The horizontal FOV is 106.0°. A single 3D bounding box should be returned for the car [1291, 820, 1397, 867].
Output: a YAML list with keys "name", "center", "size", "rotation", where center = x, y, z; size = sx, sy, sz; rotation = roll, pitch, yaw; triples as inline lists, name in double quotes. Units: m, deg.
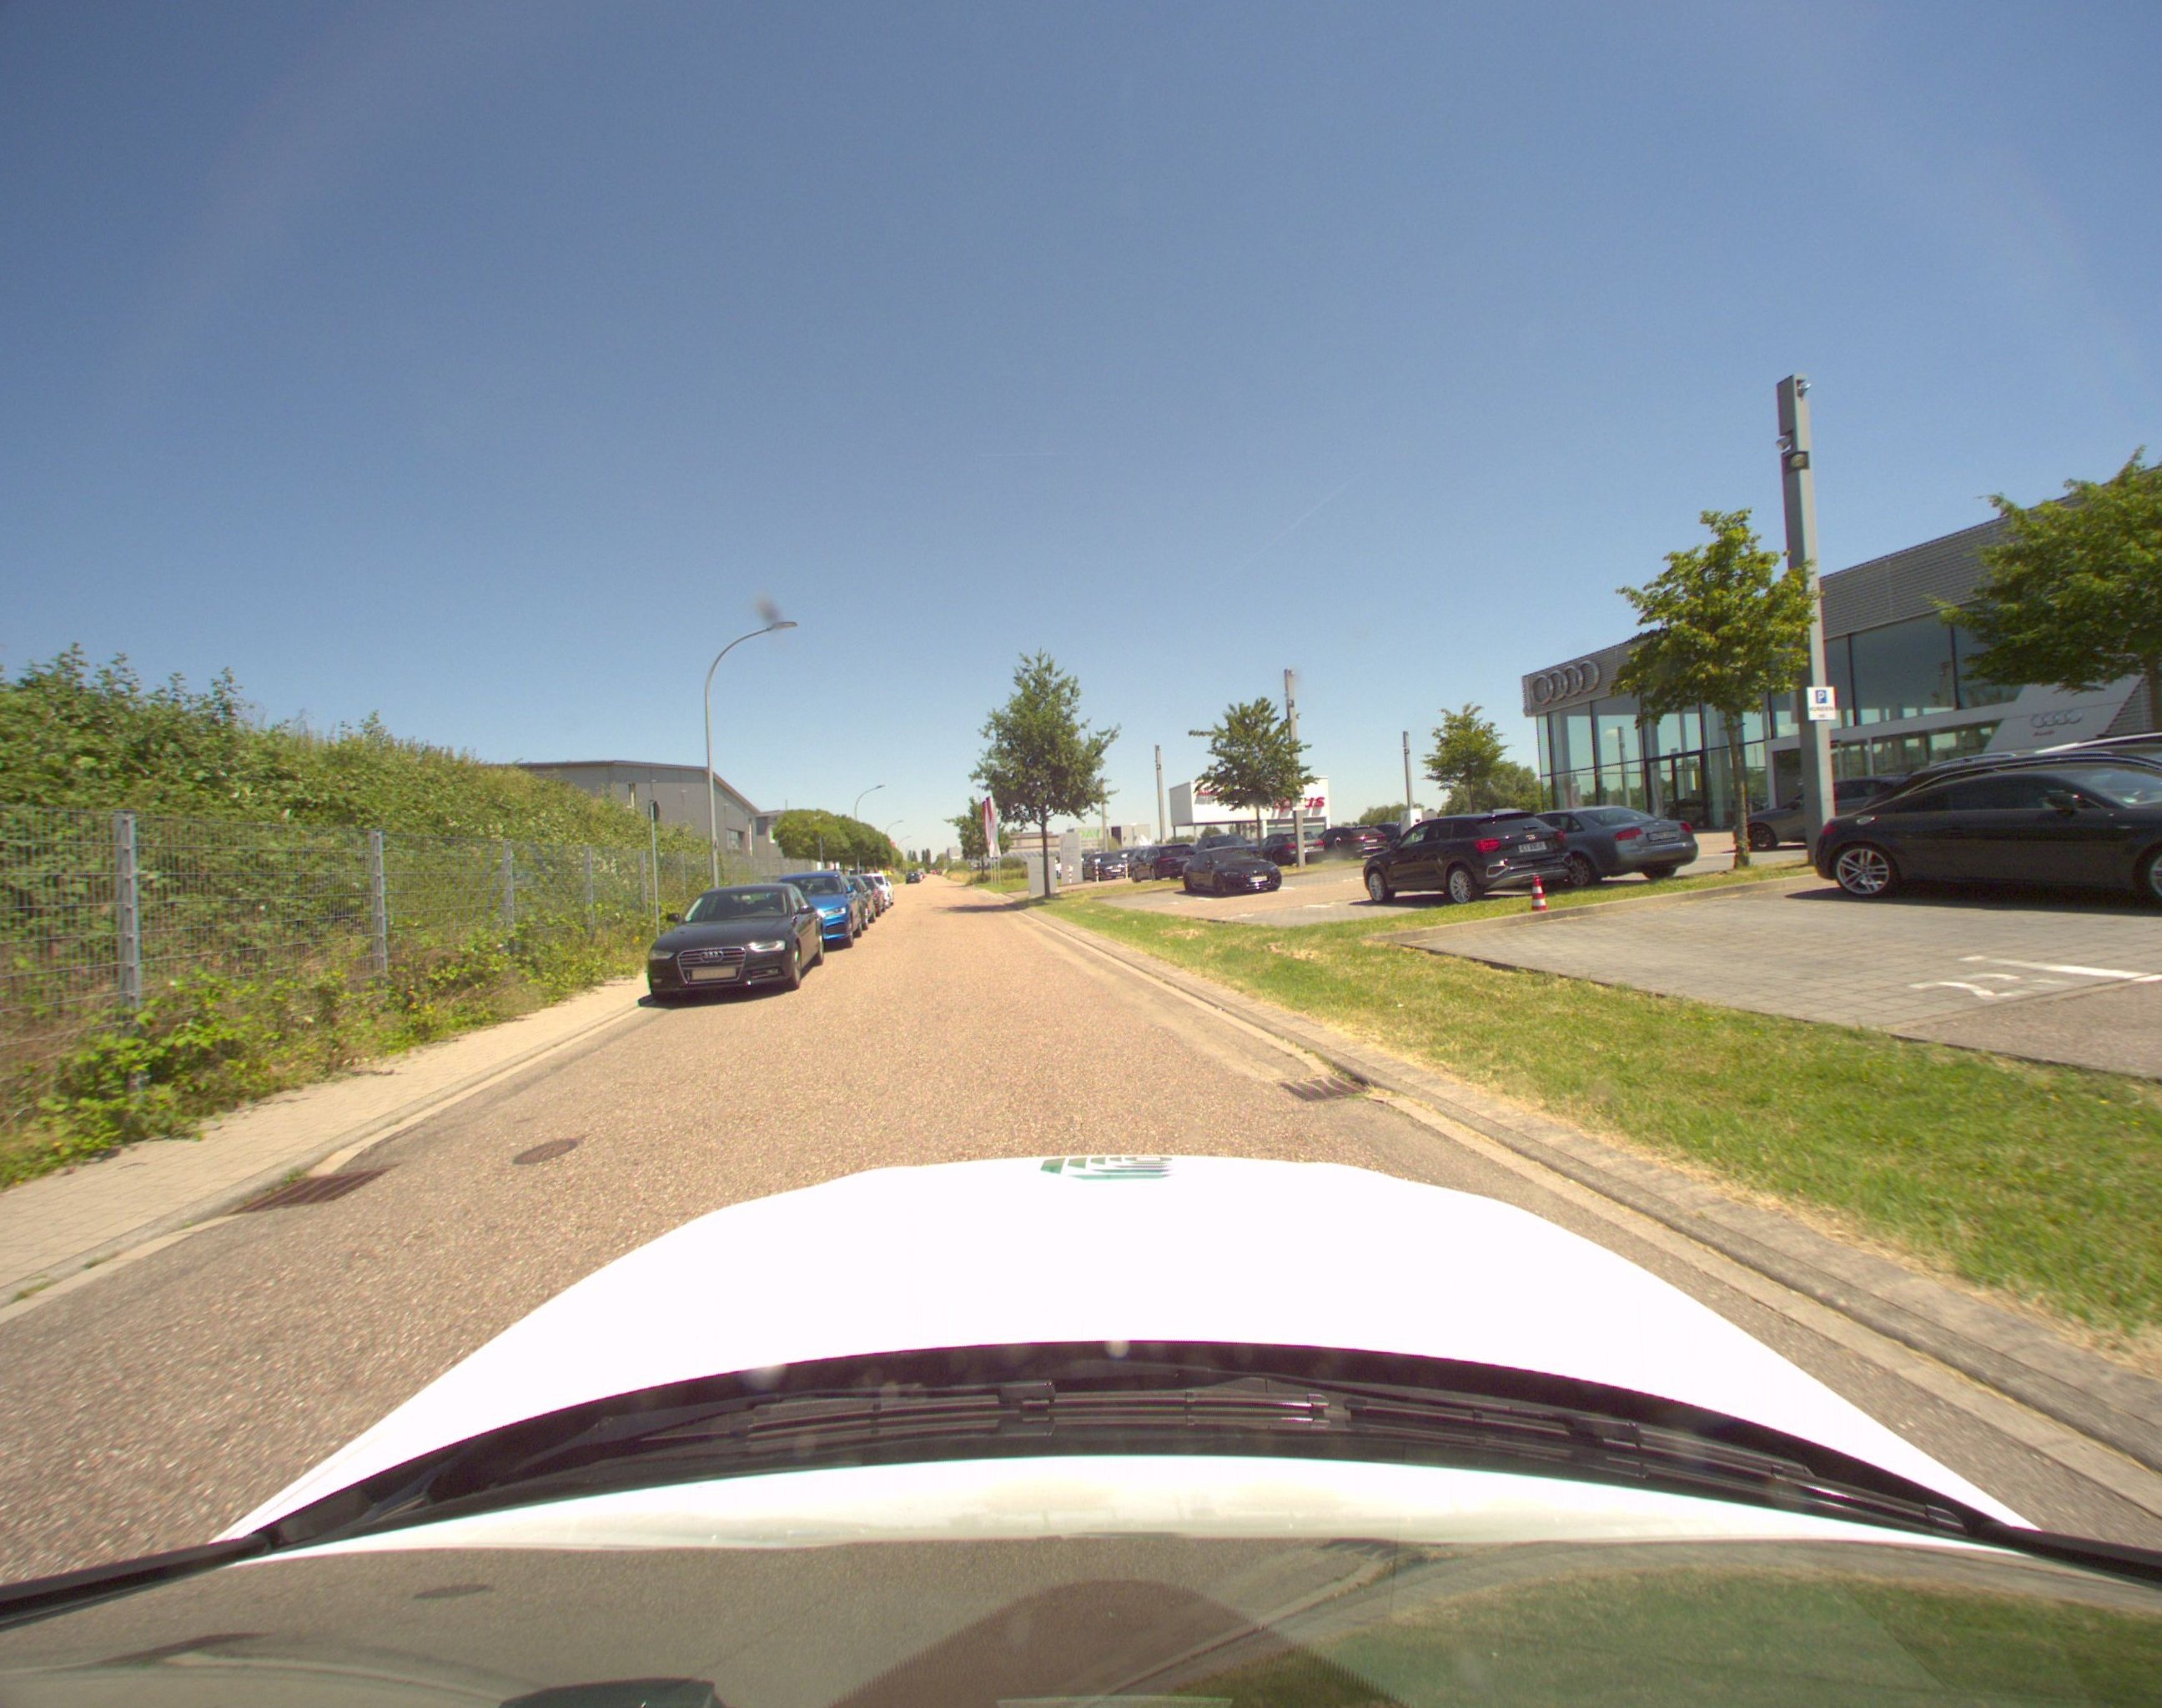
- name: "car"
  center: [10.703, -0.377, 33.615]
  size: [1.962, 1.457, 4.966]
  rotation: [-4, -2, -11]

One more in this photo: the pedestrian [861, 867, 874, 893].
- name: "pedestrian"
  center: [-14.962, 1.810, 57.045]
  size: [0.744, 1.802, 1.131]
  rotation: [0, -1, -9]

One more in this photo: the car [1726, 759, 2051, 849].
- name: "car"
  center: [16.595, -0.943, 17.123]
  size: [1.963, 1.366, 4.448]
  rotation: [-6, 0, -12]

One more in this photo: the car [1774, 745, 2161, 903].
- name: "car"
  center: [10.135, -0.312, 8.323]
  size: [1.963, 1.375, 4.294]
  rotation: [-5, 0, -12]

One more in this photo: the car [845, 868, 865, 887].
- name: "car"
  center: [-24.721, 2.570, 89.075]
  size: [1.839, 2.019, 5.103]
  rotation: [0, -1, -13]

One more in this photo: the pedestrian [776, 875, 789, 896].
- name: "pedestrian"
  center: [-24.585, 2.618, 67.097]
  size: [0.840, 1.713, 0.961]
  rotation: [-1, -1, -11]

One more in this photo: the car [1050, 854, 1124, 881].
- name: "car"
  center: [0.376, 0.895, 54.445]
  size: [4.534, 1.457, 2.022]
  rotation: [-4, -1, -13]

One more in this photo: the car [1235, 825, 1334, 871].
- name: "car"
  center: [8.215, -0.177, 33.434]
  size: [1.962, 1.457, 4.966]
  rotation: [-4, -2, -11]

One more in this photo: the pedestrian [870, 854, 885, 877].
- name: "pedestrian"
  center: [-17.778, 0.982, 71.187]
  size: [0.832, 1.973, 0.971]
  rotation: [-2, -2, 29]

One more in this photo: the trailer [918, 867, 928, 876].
- name: "trailer"
  center: [-39.953, 4.475, 206.145]
  size: [2.202, 2.137, 4.269]
  rotation: [-3, -1, -11]

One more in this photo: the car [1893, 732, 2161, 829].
- name: "car"
  center: [20.766, -1.536, 17.438]
  size: [1.961, 1.591, 4.413]
  rotation: [-6, 0, -9]

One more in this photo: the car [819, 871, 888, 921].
- name: "car"
  center: [-7.816, 1.380, 28.380]
  size: [1.825, 1.500, 4.503]
  rotation: [-3, -1, -10]

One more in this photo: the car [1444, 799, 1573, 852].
- name: "car"
  center: [17.498, -1.099, 33.681]
  size: [1.962, 1.621, 4.966]
  rotation: [-4, -2, -11]

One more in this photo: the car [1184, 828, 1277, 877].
- name: "car"
  center: [5.976, 0.014, 33.274]
  size: [1.962, 1.598, 4.966]
  rotation: [-4, -2, -11]

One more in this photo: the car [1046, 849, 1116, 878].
- name: "car"
  center: [-0.024, 0.684, 57.122]
  size: [4.534, 1.693, 2.022]
  rotation: [-4, -1, -13]

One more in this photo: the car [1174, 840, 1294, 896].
- name: "car"
  center: [4.557, 0.394, 25.106]
  size: [1.962, 1.366, 4.703]
  rotation: [-6, 1, -11]

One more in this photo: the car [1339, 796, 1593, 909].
- name: "car"
  center: [6.675, 0.008, 14.725]
  size: [1.889, 1.571, 4.210]
  rotation: [-6, 0, -12]

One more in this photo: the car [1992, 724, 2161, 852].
- name: "car"
  center: [15.050, -0.964, 10.271]
  size: [1.963, 1.613, 4.271]
  rotation: [-5, 0, -12]

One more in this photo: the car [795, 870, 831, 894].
- name: "car"
  center: [-18.978, 1.960, 57.873]
  size: [1.766, 1.573, 4.523]
  rotation: [-1, -1, -10]

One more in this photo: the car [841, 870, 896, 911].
- name: "car"
  center: [-8.735, 1.459, 33.759]
  size: [1.825, 1.500, 4.243]
  rotation: [-3, -1, -10]

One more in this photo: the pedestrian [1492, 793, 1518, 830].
- name: "pedestrian"
  center: [21.540, -2.162, 41.375]
  size: [0.769, 1.776, 0.743]
  rotation: [-4, -1, -6]

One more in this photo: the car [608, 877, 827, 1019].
- name: "car"
  center: [-4.832, 1.118, 11.554]
  size: [1.826, 1.455, 4.562]
  rotation: [-3, -1, -12]

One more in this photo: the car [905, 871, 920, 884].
- name: "car"
  center: [-23.592, 3.281, 114.076]
  size: [1.928, 1.567, 4.172]
  rotation: [-3, -1, -12]

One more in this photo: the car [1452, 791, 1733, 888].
- name: "car"
  center: [9.130, -0.200, 15.046]
  size: [1.963, 1.366, 4.210]
  rotation: [-6, 0, -12]

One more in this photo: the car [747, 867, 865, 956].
- name: "car"
  center: [-5.773, 1.130, 17.598]
  size: [1.826, 1.570, 4.368]
  rotation: [-3, -1, -12]

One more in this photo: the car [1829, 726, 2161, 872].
- name: "car"
  center: [12.376, -0.653, 9.589]
  size: [1.963, 1.553, 4.985]
  rotation: [-5, 0, -12]

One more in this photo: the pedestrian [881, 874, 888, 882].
- name: "pedestrian"
  center: [-25.552, 3.098, 105.935]
  size: [0.750, 1.099, 0.645]
  rotation: [0, -2, -7]

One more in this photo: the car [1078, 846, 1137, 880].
- name: "car"
  center: [1.350, 0.509, 44.215]
  size: [2.026, 1.514, 5.220]
  rotation: [-6, 0, -10]

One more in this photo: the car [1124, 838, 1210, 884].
- name: "car"
  center: [3.314, 0.339, 32.449]
  size: [1.962, 1.457, 4.966]
  rotation: [-4, -2, -11]

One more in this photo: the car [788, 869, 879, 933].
- name: "car"
  center: [-6.788, 1.224, 22.765]
  size: [1.825, 1.500, 4.503]
  rotation: [-3, -1, -10]
